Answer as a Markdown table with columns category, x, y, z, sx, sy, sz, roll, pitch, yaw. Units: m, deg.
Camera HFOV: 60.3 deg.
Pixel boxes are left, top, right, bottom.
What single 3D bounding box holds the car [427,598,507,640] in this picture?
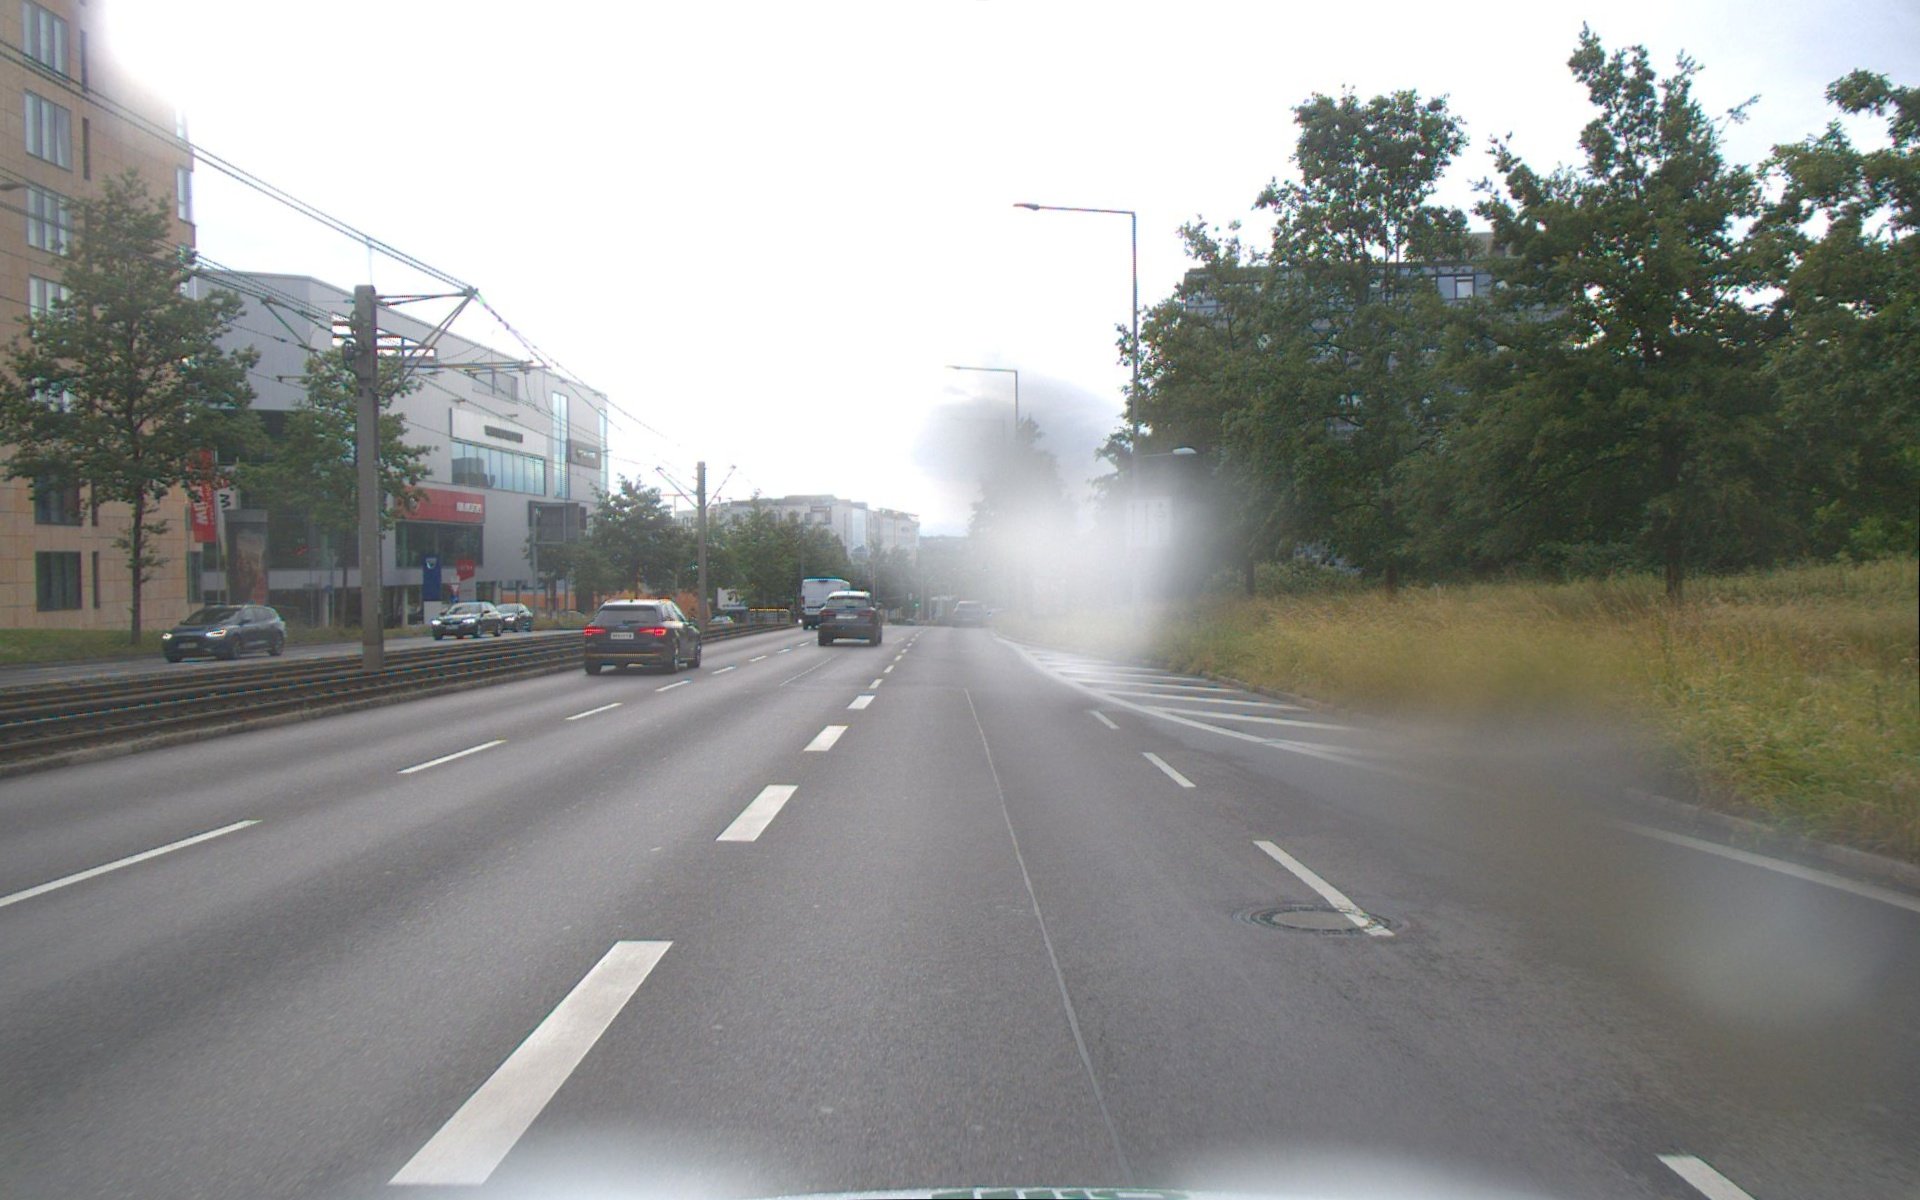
| category | x | y | z | sx | sy | sz | roll | pitch | yaw |
| --- | --- | --- | --- | --- | --- | --- | --- | --- | --- |
| car | -19.954 | 0.751 | 67.168 | 1.803 | 1.512 | 4.653 | -3 | 0 | 0 |

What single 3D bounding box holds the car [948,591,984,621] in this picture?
| category | x | y | z | sx | sy | sz | roll | pitch | yaw |
| --- | --- | --- | --- | --- | --- | --- | --- | --- | --- |
| car | 0.330 | 0.363 | 93.413 | 1.754 | 1.619 | 3.997 | -1 | 0 | -4 |

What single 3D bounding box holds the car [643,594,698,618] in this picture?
| category | x | y | z | sx | sy | sz | roll | pitch | yaw |
| --- | --- | --- | --- | --- | --- | --- | --- | --- | --- |
| car | -28.777 | 0.605 | 164.706 | 5.200 | 2.353 | 2.017 | 1 | -2 | -6 |

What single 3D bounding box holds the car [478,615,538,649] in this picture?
| category | x | y | z | sx | sy | sz | roll | pitch | yaw |
| --- | --- | --- | --- | --- | --- | --- | --- | --- | --- |
| car | -23.089 | 1.627 | 84.615 | 1.803 | 1.512 | 4.430 | -3 | 0 | 0 |

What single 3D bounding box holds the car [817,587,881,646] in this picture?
| category | x | y | z | sx | sy | sz | roll | pitch | yaw |
| --- | --- | --- | --- | --- | --- | --- | --- | --- | --- |
| car | -3.471 | 0.493 | 51.832 | 1.884 | 1.740 | 4.095 | 1 | 0 | -4 |

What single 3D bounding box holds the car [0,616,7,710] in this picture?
| category | x | y | z | sx | sy | sz | roll | pitch | yaw |
| --- | --- | --- | --- | --- | --- | --- | --- | --- | --- |
| car | -16.573 | 0.963 | 25.037 | 1.735 | 1.528 | 4.200 | 1 | -2 | 1 |

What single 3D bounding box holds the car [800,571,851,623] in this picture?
| category | x | y | z | sx | sy | sz | roll | pitch | yaw |
| --- | --- | --- | --- | --- | --- | --- | --- | --- | --- |
| car | -6.175 | -0.131 | 76.290 | 2.223 | 2.325 | 4.756 | 1 | 0 | -4 |

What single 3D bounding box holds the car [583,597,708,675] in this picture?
| category | x | y | z | sx | sy | sz | roll | pitch | yaw |
| --- | --- | --- | --- | --- | --- | --- | --- | --- | --- |
| car | -6.237 | 0.667 | 33.286 | 1.750 | 1.438 | 4.804 | 1 | 0 | -2 |

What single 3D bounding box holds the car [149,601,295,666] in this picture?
| category | x | y | z | sx | sy | sz | roll | pitch | yaw |
| --- | --- | --- | --- | --- | --- | --- | --- | --- | --- |
| car | -19.868 | 0.855 | 44.757 | 1.803 | 1.512 | 4.653 | -3 | 0 | 0 |
